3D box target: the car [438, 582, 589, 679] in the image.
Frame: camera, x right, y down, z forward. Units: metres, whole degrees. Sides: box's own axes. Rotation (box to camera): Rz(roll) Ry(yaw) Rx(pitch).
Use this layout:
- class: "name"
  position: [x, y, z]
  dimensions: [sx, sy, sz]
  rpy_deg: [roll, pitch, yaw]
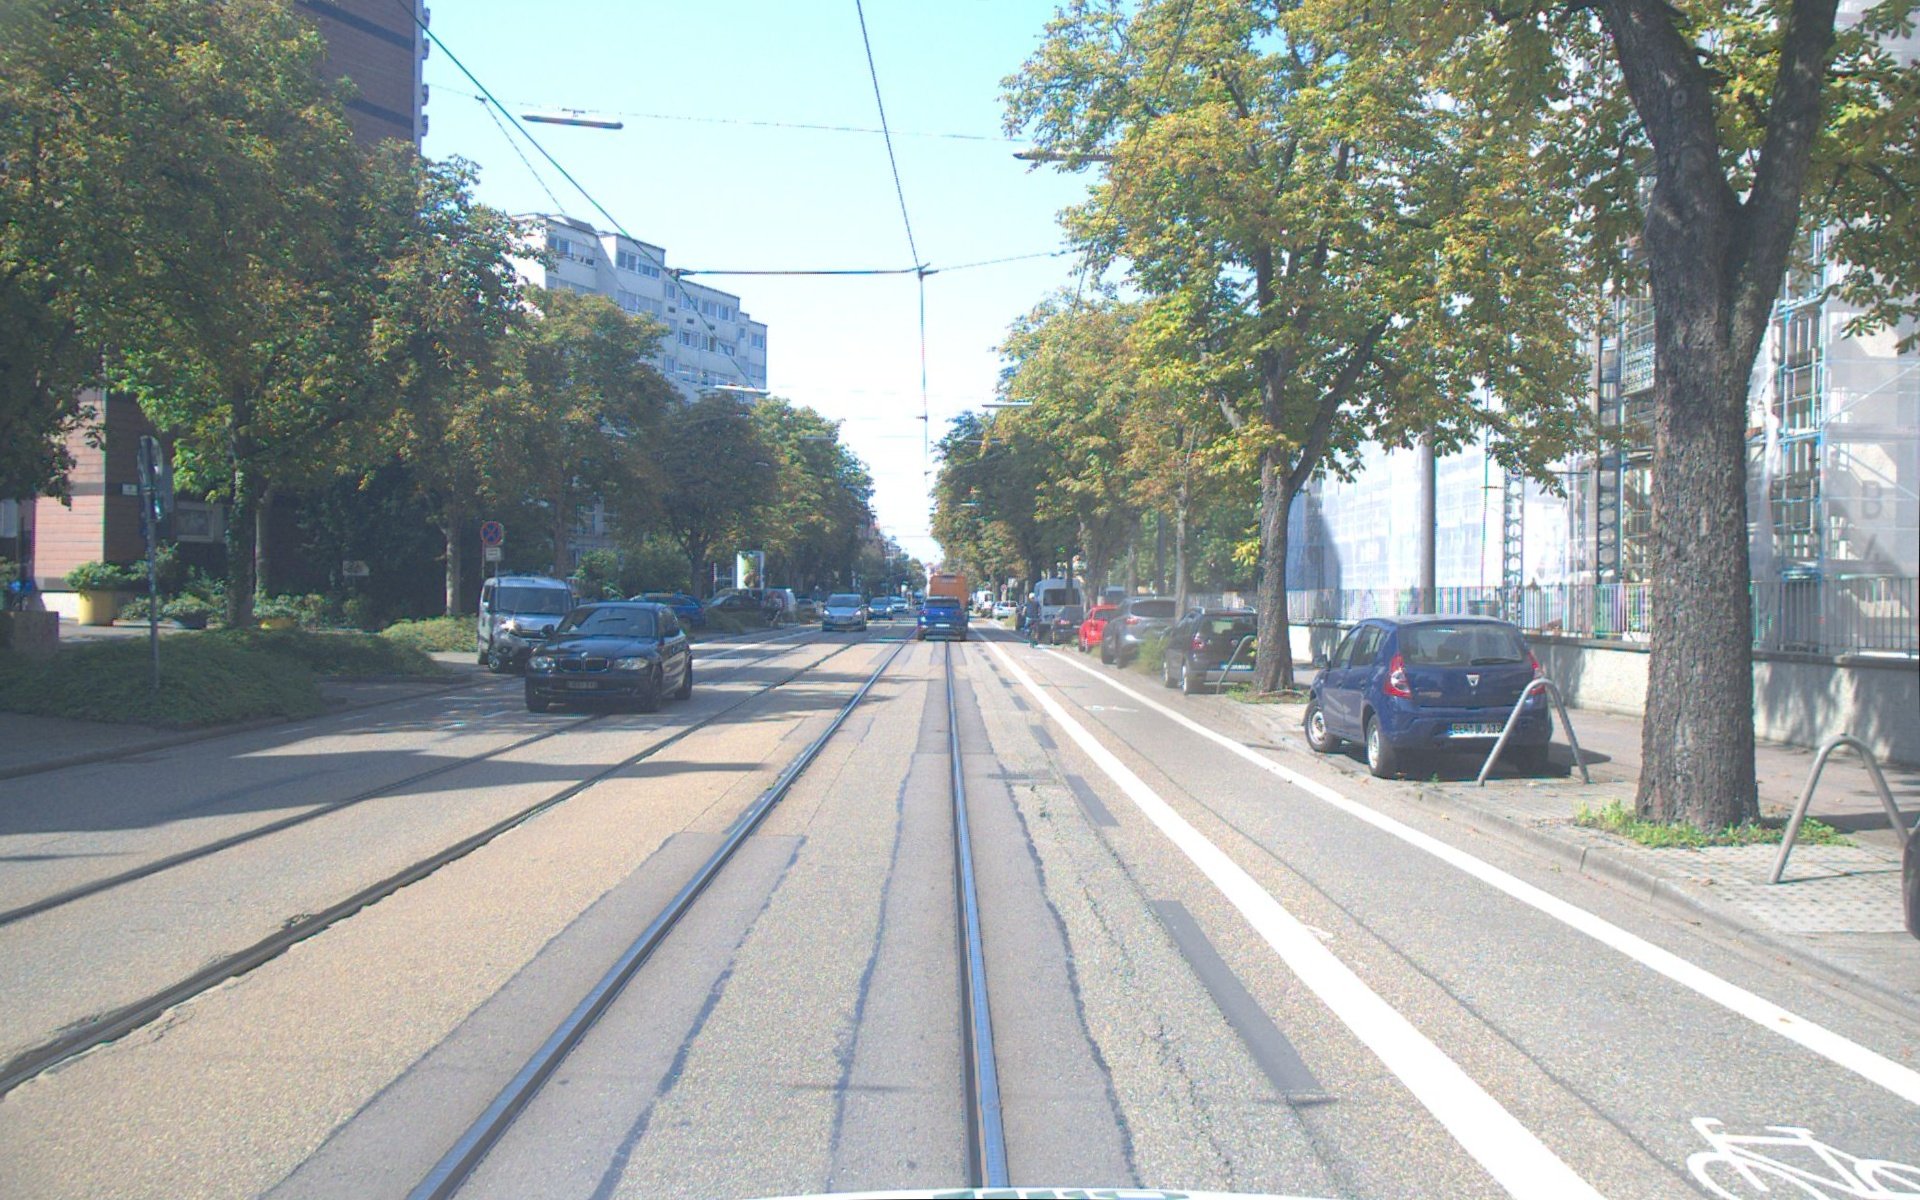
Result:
- class: "car"
  position: [-9.073, 0.571, 33.402]
  dimensions: [1.732, 1.828, 3.952]
  rpy_deg: [1, 0, -34]

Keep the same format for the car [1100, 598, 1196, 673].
- class: "car"
  position: [4.525, 0.816, 40.397]
  dimensions: [1.705, 1.697, 4.360]
  rpy_deg: [1, 0, -2]

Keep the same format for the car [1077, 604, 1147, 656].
- class: "car"
  position: [4.618, 0.904, 50.779]
  dimensions: [1.705, 1.488, 3.683]
  rpy_deg: [1, 0, -2]

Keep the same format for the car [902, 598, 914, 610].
- class: "car"
  position: [-8.013, 0.605, 254.530]
  dimensions: [1.711, 1.828, 3.999]
  rpy_deg: [1, 0, -2]

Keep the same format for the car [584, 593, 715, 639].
- class: "car"
  position: [-11.667, 0.601, 62.113]
  dimensions: [4.510, 1.580, 1.985]
  rpy_deg: [1, 0, -25]

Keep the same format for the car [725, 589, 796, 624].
- class: "car"
  position: [-12.140, 0.384, 100.590]
  dimensions: [3.969, 2.049, 1.827]
  rpy_deg: [1, 0, -44]

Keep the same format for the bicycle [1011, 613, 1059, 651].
- class: "bicycle"
  position: [2.441, 1.018, 54.446]
  dimensions: [1.373, 1.154, 3.999]
  rpy_deg: [1, 0, -1]

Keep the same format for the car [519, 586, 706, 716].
- class: "car"
  position: [-4.665, 0.635, 22.789]
  dimensions: [1.647, 1.599, 4.206]
  rpy_deg: [1, 0, 0]

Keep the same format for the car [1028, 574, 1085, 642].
- class: "car"
  position: [4.127, 0.327, 71.506]
  dimensions: [1.953, 2.804, 5.759]
  rpy_deg: [1, 0, -2]

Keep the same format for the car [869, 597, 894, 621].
- class: "car"
  position: [-5.357, 0.608, 113.210]
  dimensions: [1.600, 1.612, 4.187]
  rpy_deg: [1, 0, -2]

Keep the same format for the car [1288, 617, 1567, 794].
- class: "car"
  position: [4.685, 0.982, 17.207]
  dimensions: [1.707, 1.583, 4.216]
  rpy_deg: [0, 0, 0]

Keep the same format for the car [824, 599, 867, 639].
- class: "car"
  position: [-5.124, 0.840, 74.456]
  dimensions: [1.744, 1.713, 4.346]
  rpy_deg: [1, 0, -2]

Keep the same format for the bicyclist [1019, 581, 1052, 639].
- class: "bicyclist"
  position: [2.488, 0.326, 54.430]
  dimensions: [1.011, 1.844, 1.016]
  rpy_deg: [1, 0, -1]

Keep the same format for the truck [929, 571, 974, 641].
- class: "truck"
  position: [-0.404, 0.268, 78.953]
  dimensions: [2.092, 3.179, 6.084]
  rpy_deg: [0, 0, 0]

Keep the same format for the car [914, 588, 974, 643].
- class: "car"
  position: [-0.562, 0.530, 60.076]
  dimensions: [2.092, 1.891, 5.567]
  rpy_deg: [0, 0, 0]

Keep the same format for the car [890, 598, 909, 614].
- class: "car"
  position: [-6.059, 0.608, 166.989]
  dimensions: [1.860, 1.589, 4.121]
  rpy_deg: [1, 0, -2]

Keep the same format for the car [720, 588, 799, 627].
- class: "car"
  position: [-10.879, 0.430, 89.935]
  dimensions: [3.969, 2.049, 1.827]
  rpy_deg: [1, 0, -44]

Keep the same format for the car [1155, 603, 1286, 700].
- class: "car"
  position: [4.695, 0.881, 30.305]
  dimensions: [1.600, 1.612, 4.187]
  rpy_deg: [1, 0, -2]

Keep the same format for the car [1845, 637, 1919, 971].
- class: "car"
  position: [4.968, 0.886, 5.661]
  dimensions: [1.625, 1.432, 4.216]
  rpy_deg: [0, 0, 0]

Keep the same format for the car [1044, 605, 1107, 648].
- class: "car"
  position: [4.216, 0.956, 60.913]
  dimensions: [1.869, 1.456, 4.291]
  rpy_deg: [1, 0, -2]
